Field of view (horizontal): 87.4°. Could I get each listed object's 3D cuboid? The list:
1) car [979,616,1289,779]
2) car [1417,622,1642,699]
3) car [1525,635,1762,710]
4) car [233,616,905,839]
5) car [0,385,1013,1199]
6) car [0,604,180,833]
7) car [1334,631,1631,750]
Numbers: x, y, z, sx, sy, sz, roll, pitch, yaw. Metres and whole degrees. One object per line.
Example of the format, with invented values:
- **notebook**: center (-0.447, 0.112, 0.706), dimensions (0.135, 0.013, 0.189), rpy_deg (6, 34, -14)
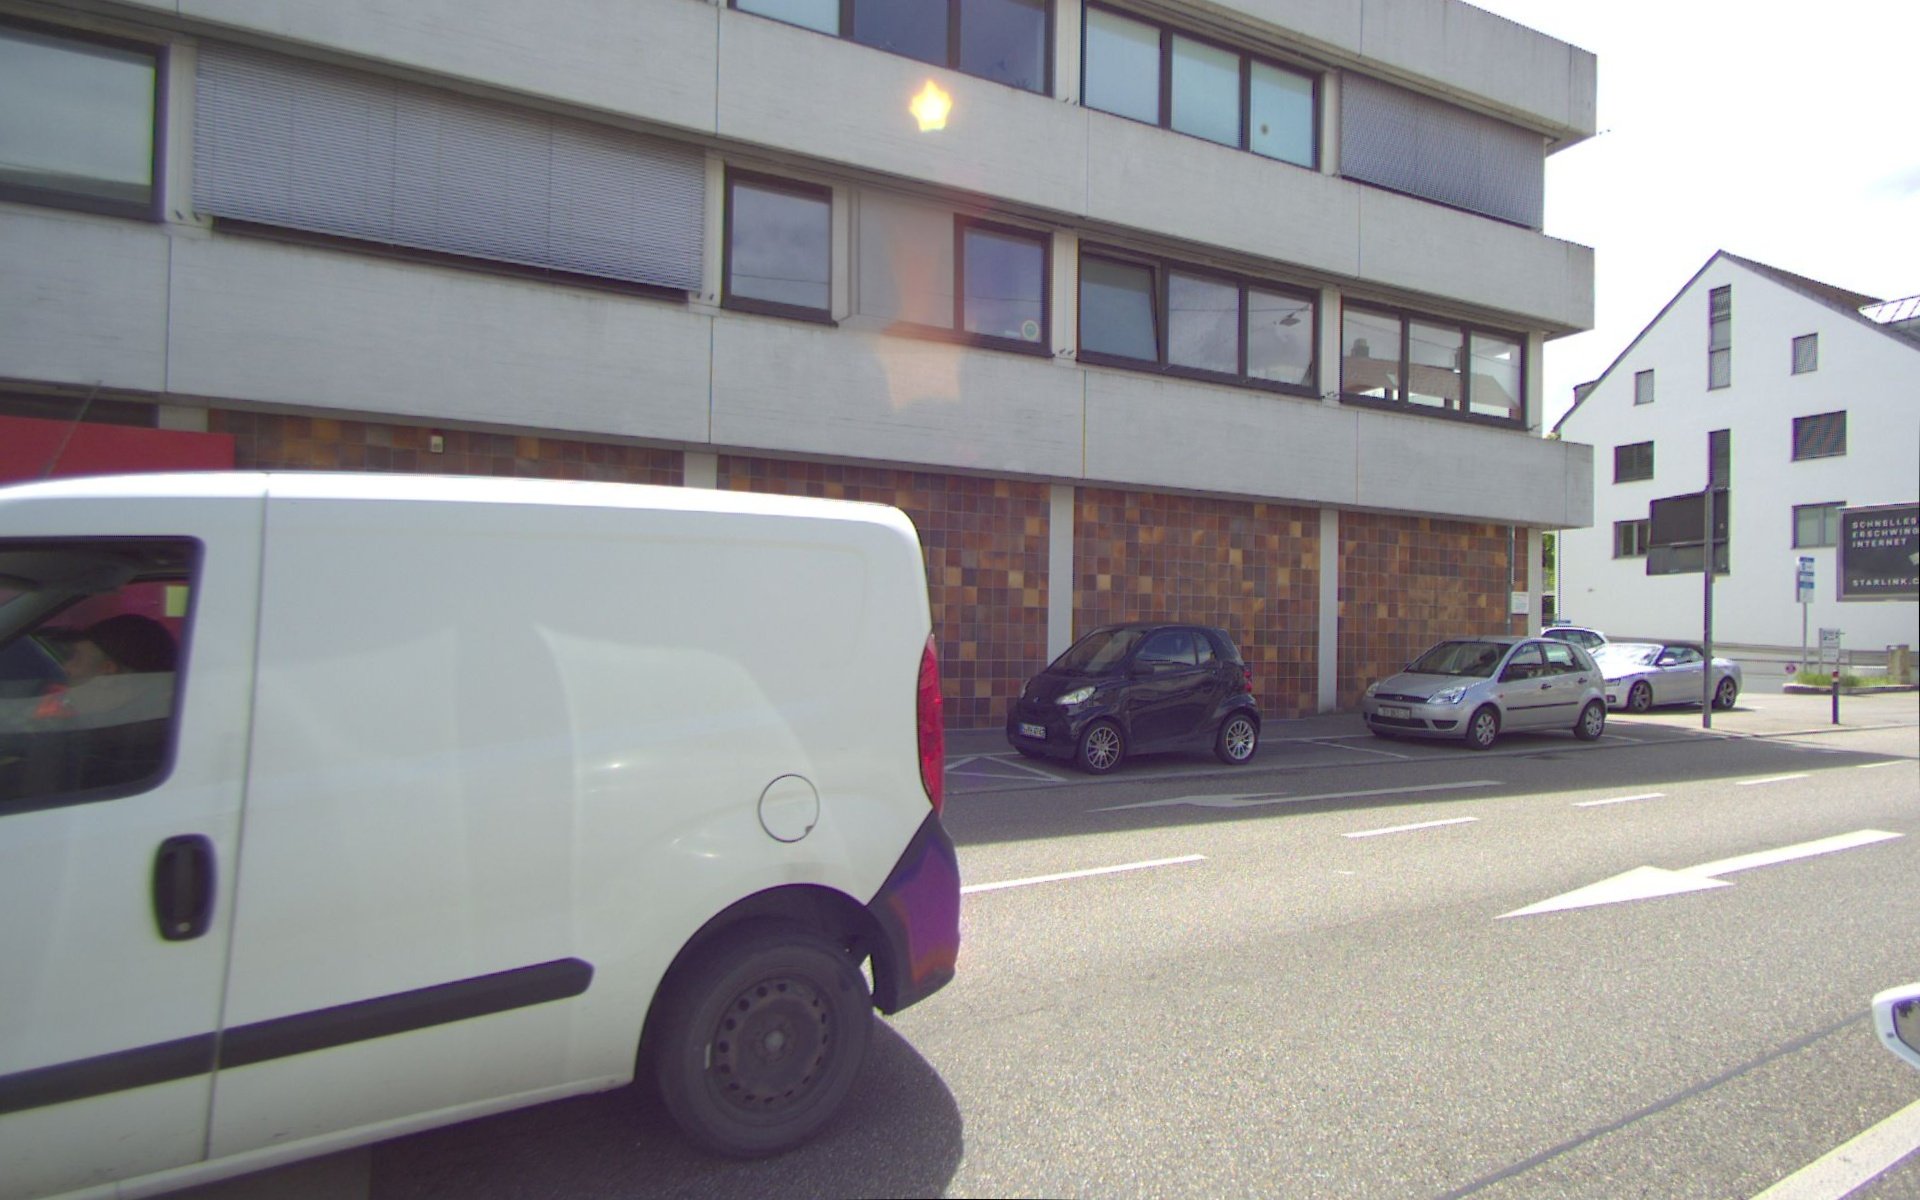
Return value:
- **car**: center (1.952, 1.005, 11.338), dimensions (3.016, 1.576, 1.731), rpy_deg (1, 0, -26)
- **car**: center (13.120, 1.376, 23.147), dimensions (4.859, 1.640, 1.947), rpy_deg (1, -4, -23)
- **car**: center (14.103, 1.435, 20.701), dimensions (4.791, 1.376, 1.945), rpy_deg (1, -2, -26)
- **car**: center (-3.126, 0.922, 8.760), dimensions (4.887, 1.463, 2.037), rpy_deg (1, 0, -26)
- **car**: center (-2.140, 0.545, 2.793), dimensions (4.228, 1.845, 1.936), rpy_deg (1, -2, -30)
- **car**: center (-8.172, 0.760, 6.801), dimensions (4.231, 1.495, 2.036), rpy_deg (1, 0, -28)
- **car**: center (7.468, 1.203, 14.302), dimensions (4.095, 1.441, 1.715), rpy_deg (1, 0, -27)
